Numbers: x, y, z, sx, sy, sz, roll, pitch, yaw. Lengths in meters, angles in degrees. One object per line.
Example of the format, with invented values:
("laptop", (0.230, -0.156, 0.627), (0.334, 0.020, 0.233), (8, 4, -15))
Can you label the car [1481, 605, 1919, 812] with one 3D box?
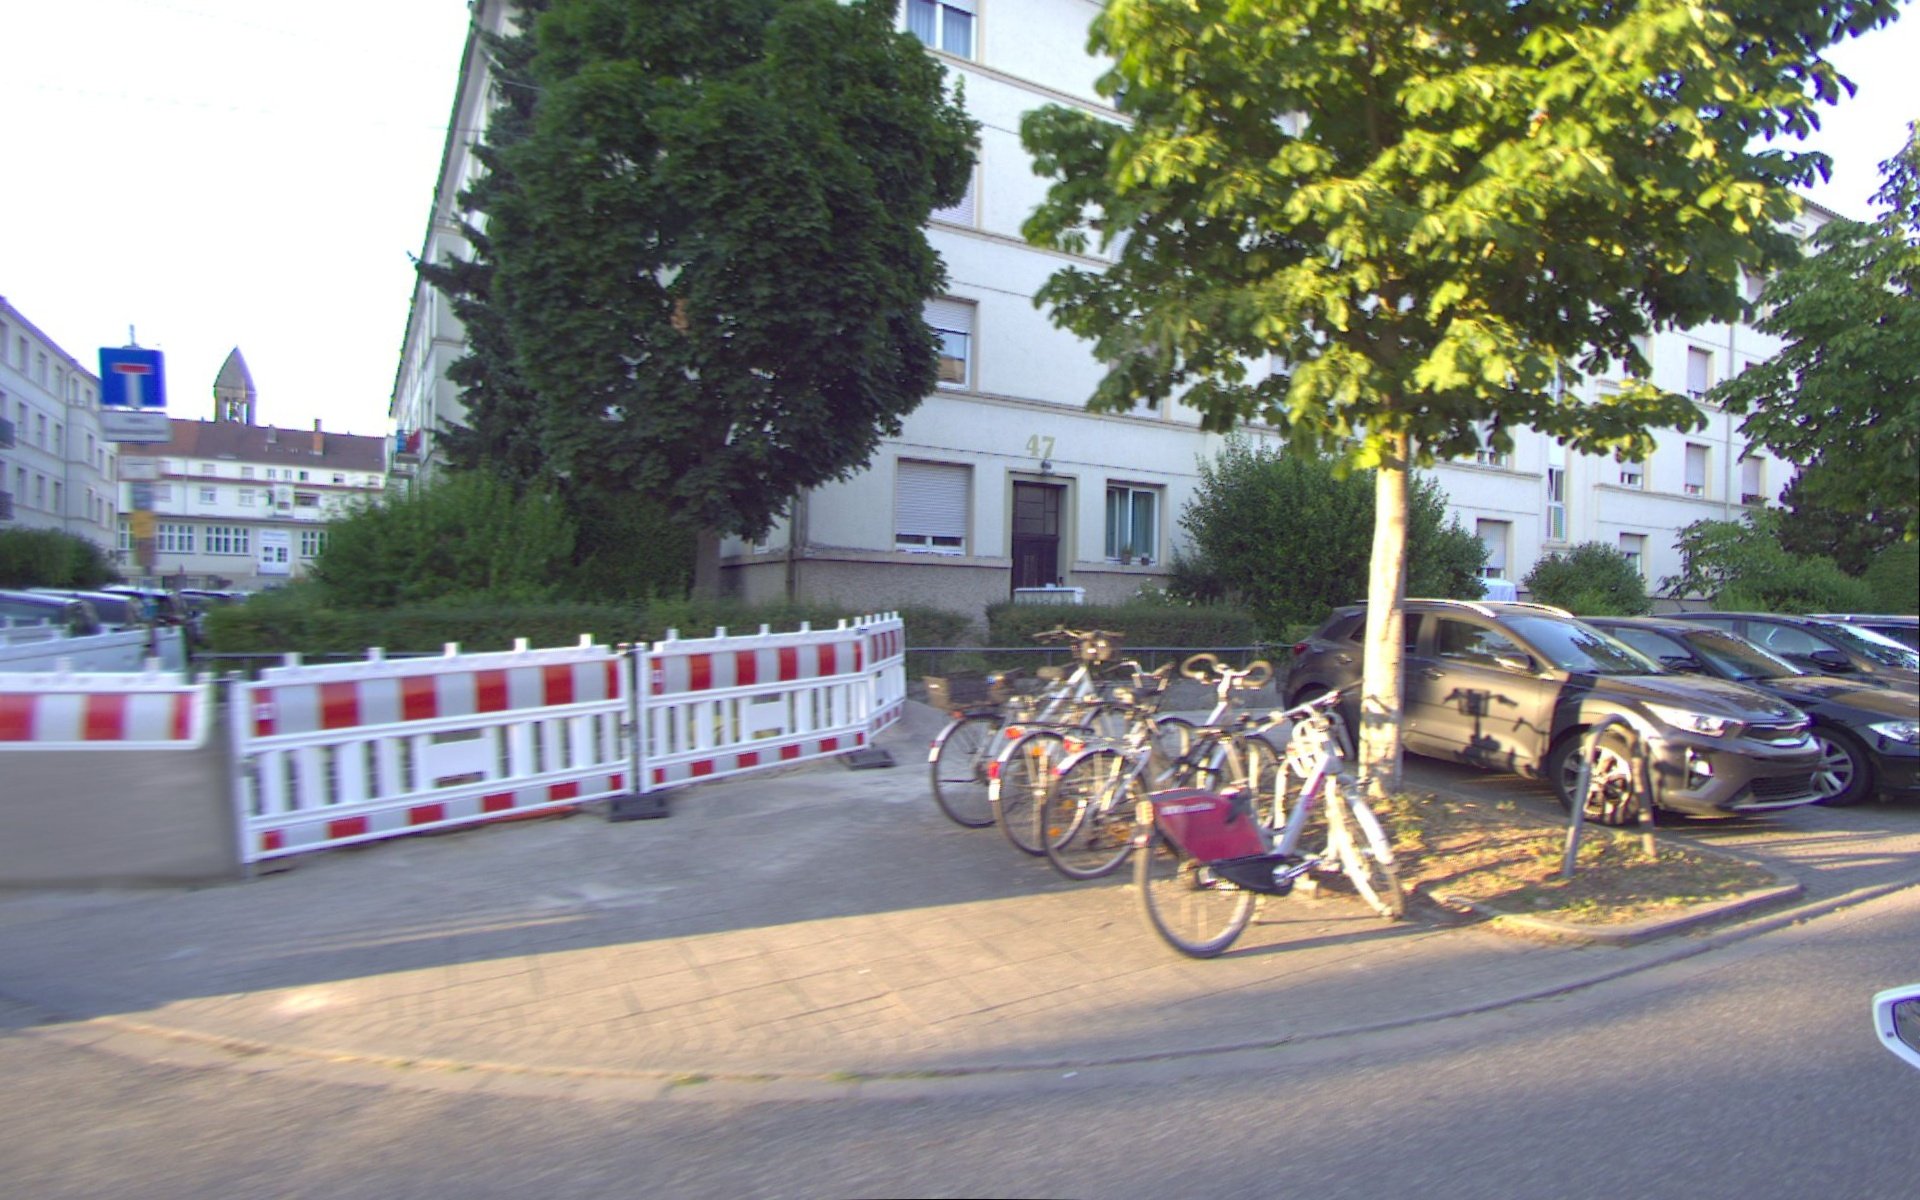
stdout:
("car", (7.056, 0.830, 9.203), (1.586, 1.403, 3.827), (1, 1, -27))

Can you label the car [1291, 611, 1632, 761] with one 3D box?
("car", (6.095, 0.944, 12.579), (1.740, 1.462, 3.428), (1, 1, -28))

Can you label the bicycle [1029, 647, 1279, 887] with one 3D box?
("bicycle", (1.086, 0.848, 5.459), (1.508, 1.173, 0.278), (1, 0, -30))

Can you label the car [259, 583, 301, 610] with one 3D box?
("car", (-39.531, -0.186, 58.460), (1.767, 1.447, 3.720), (4, -2, -31))

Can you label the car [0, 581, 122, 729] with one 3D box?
("car", (-11.073, 0.516, 11.389), (1.767, 1.480, 3.720), (4, -2, -31))

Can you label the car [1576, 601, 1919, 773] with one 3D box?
("car", (9.144, 0.839, 10.761), (1.706, 1.504, 4.017), (1, 1, -27))

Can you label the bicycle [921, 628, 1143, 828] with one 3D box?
("bicycle", (0.492, 0.778, 6.453), (1.508, 1.173, 0.278), (1, 0, -30))

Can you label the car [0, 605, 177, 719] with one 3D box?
("car", (-13.391, 0.884, 15.397), (1.667, 1.480, 3.720), (4, -2, -31))

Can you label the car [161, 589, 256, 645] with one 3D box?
("car", (-21.810, 0.471, 29.292), (1.767, 1.447, 3.720), (4, -2, -31))

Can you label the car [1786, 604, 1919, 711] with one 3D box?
("car", (14.858, 0.887, 14.850), (1.706, 1.504, 3.686), (1, 1, -27))

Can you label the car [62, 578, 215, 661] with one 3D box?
("car", (-16.297, 0.371, 20.108), (1.767, 1.447, 3.596), (4, -2, -31))

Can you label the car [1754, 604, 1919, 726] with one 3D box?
("car", (13.320, 0.896, 12.976), (1.706, 1.504, 4.490), (1, 1, -27))

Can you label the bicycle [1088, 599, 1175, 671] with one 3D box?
("bicycle", (3.266, 0.645, 19.328), (0.438, 1.336, 1.877), (1, -1, -35))

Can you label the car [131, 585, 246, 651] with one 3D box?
("car", (-19.040, 0.422, 24.939), (1.767, 1.447, 3.720), (4, -2, -31))

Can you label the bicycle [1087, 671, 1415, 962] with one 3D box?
("bicycle", (1.376, 0.916, 4.641), (1.610, 1.110, 0.445), (1, 1, -30))

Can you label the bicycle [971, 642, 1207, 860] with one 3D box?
("bicycle", (0.794, 0.840, 5.941), (1.508, 1.173, 0.278), (1, 0, -30))
